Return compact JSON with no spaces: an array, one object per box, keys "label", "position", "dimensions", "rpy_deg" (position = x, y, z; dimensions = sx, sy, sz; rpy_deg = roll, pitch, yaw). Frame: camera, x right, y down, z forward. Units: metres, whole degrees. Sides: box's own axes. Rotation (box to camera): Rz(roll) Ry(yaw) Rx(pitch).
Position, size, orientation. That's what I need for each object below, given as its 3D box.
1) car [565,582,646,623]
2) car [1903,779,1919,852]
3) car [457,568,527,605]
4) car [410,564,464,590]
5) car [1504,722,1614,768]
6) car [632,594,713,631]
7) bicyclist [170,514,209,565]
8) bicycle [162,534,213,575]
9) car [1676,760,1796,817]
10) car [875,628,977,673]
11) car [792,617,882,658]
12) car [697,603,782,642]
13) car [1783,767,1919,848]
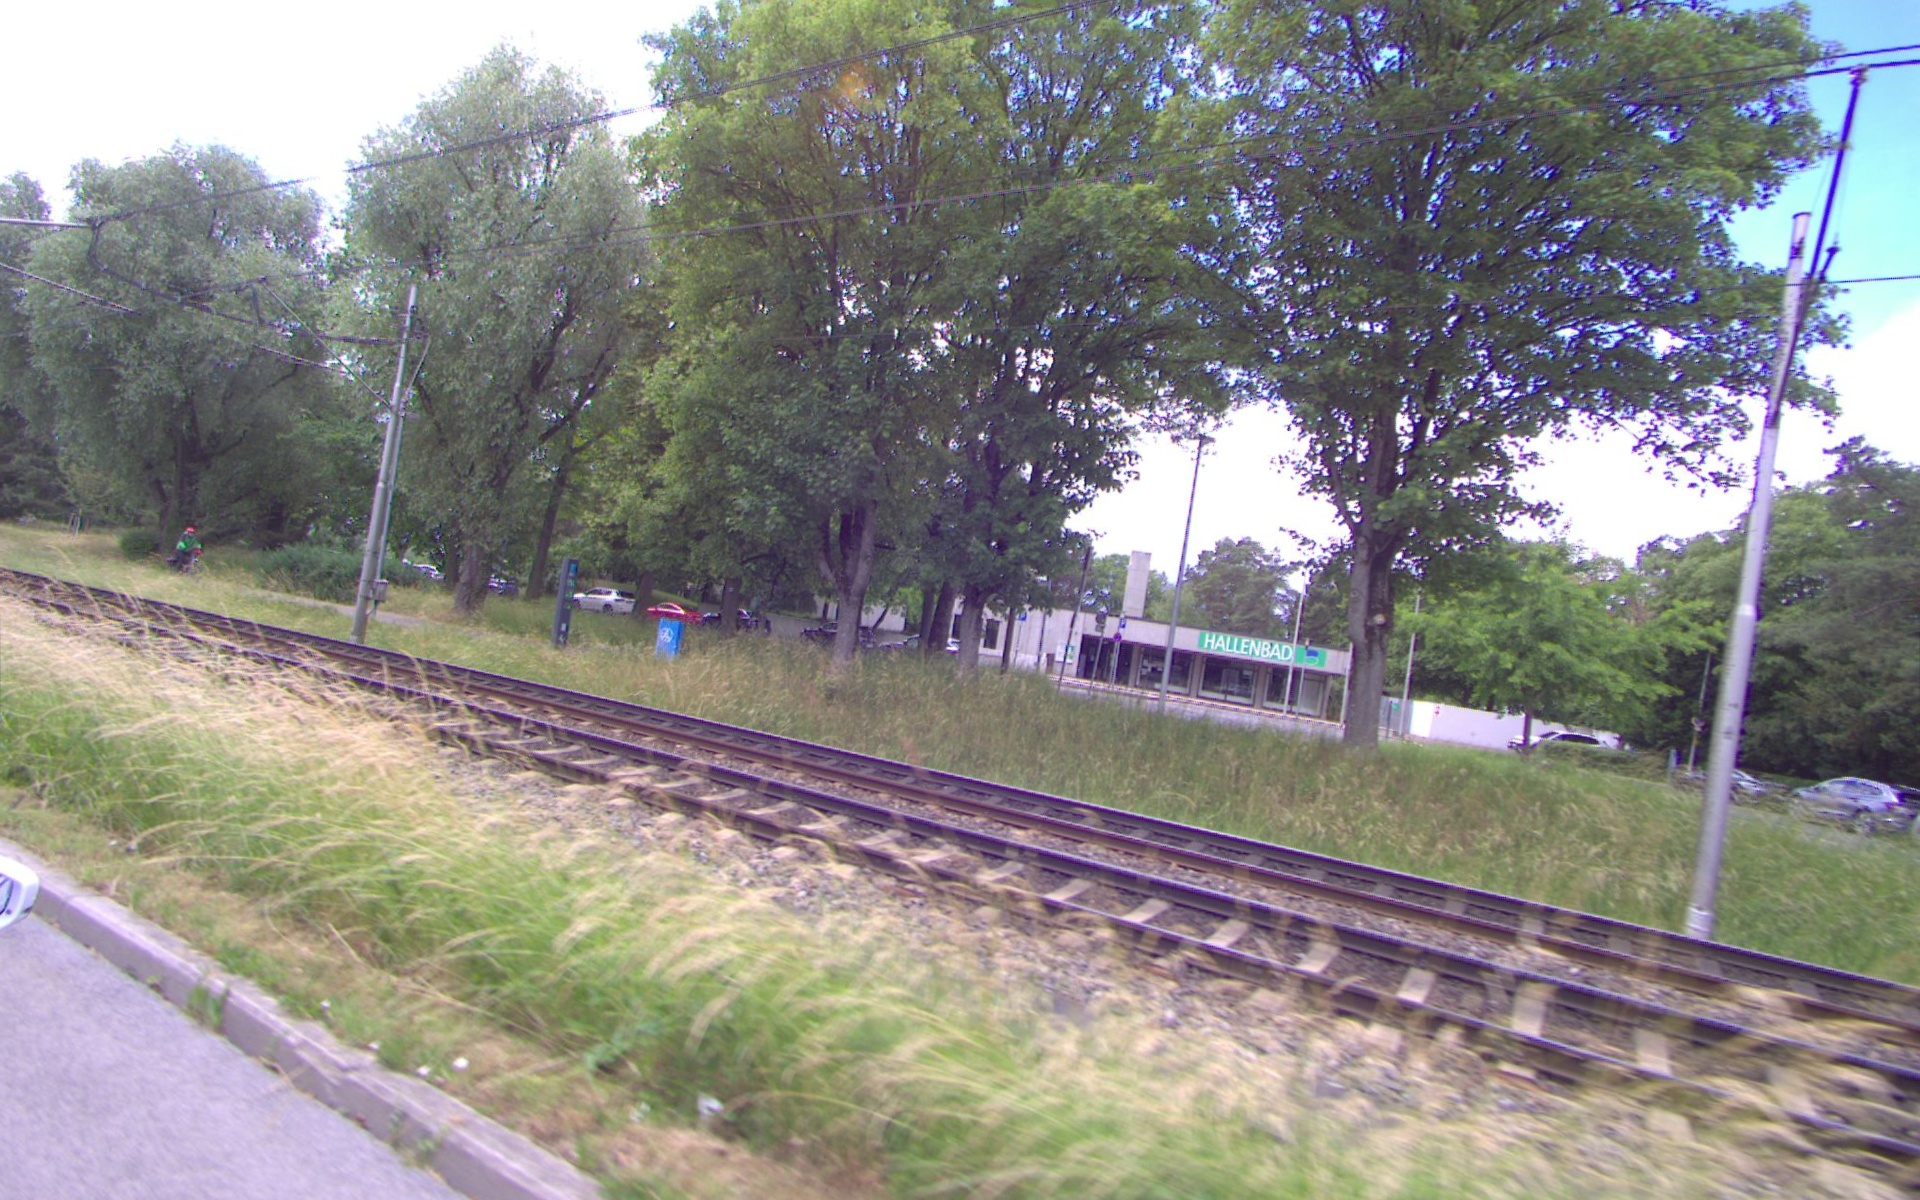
[{"label":"car","position":[-20.637,0.136,58.538],"dimensions":[4.157,1.718,2.000],"rpy_deg":[6,-4,30]},{"label":"car","position":[26.360,5.780,24.818],"dimensions":[1.881,1.882,4.721],"rpy_deg":[8,-2,6]},{"label":"car","position":[-29.635,-0.853,63.719],"dimensions":[3.934,1.718,1.999],"rpy_deg":[6,-4,32]},{"label":"car","position":[-49.498,-2.157,95.264],"dimensions":[3.925,1.832,2.003],"rpy_deg":[8,-2,4]},{"label":"car","position":[31.119,7.521,52.431],"dimensions":[4.379,1.599,1.982],"rpy_deg":[7,-2,13]},{"label":"car","position":[-15.917,0.705,55.750],"dimensions":[3.932,1.458,1.999],"rpy_deg":[6,-3,30]},{"label":"bicyclist","position":[-28.150,-2.195,36.751],"dimensions":[0.919,1.715,0.582],"rpy_deg":[7,-2,26]},{"label":"bicycle","position":[-28.210,-1.647,36.712],"dimensions":[1.895,1.260,0.582],"rpy_deg":[7,-1,26]},{"label":"car","position":[27.451,6.635,35.709],"dimensions":[1.642,1.348,3.530],"rpy_deg":[8,-2,6]},{"label":"car","position":[-1.604,2.385,47.548],"dimensions":[4.272,1.458,1.999],"rpy_deg":[6,-3,30]},{"label":"car","position":[-6.140,1.857,50.116],"dimensions":[3.932,1.458,1.999],"rpy_deg":[6,-3,30]},{"label":"car","position":[-11.688,1.208,53.224],"dimensions":[3.932,1.458,1.999],"rpy_deg":[6,-3,30]},{"label":"car","position":[27.121,6.196,30.085],"dimensions":[1.737,1.697,4.202],"rpy_deg":[8,-2,6]}]
